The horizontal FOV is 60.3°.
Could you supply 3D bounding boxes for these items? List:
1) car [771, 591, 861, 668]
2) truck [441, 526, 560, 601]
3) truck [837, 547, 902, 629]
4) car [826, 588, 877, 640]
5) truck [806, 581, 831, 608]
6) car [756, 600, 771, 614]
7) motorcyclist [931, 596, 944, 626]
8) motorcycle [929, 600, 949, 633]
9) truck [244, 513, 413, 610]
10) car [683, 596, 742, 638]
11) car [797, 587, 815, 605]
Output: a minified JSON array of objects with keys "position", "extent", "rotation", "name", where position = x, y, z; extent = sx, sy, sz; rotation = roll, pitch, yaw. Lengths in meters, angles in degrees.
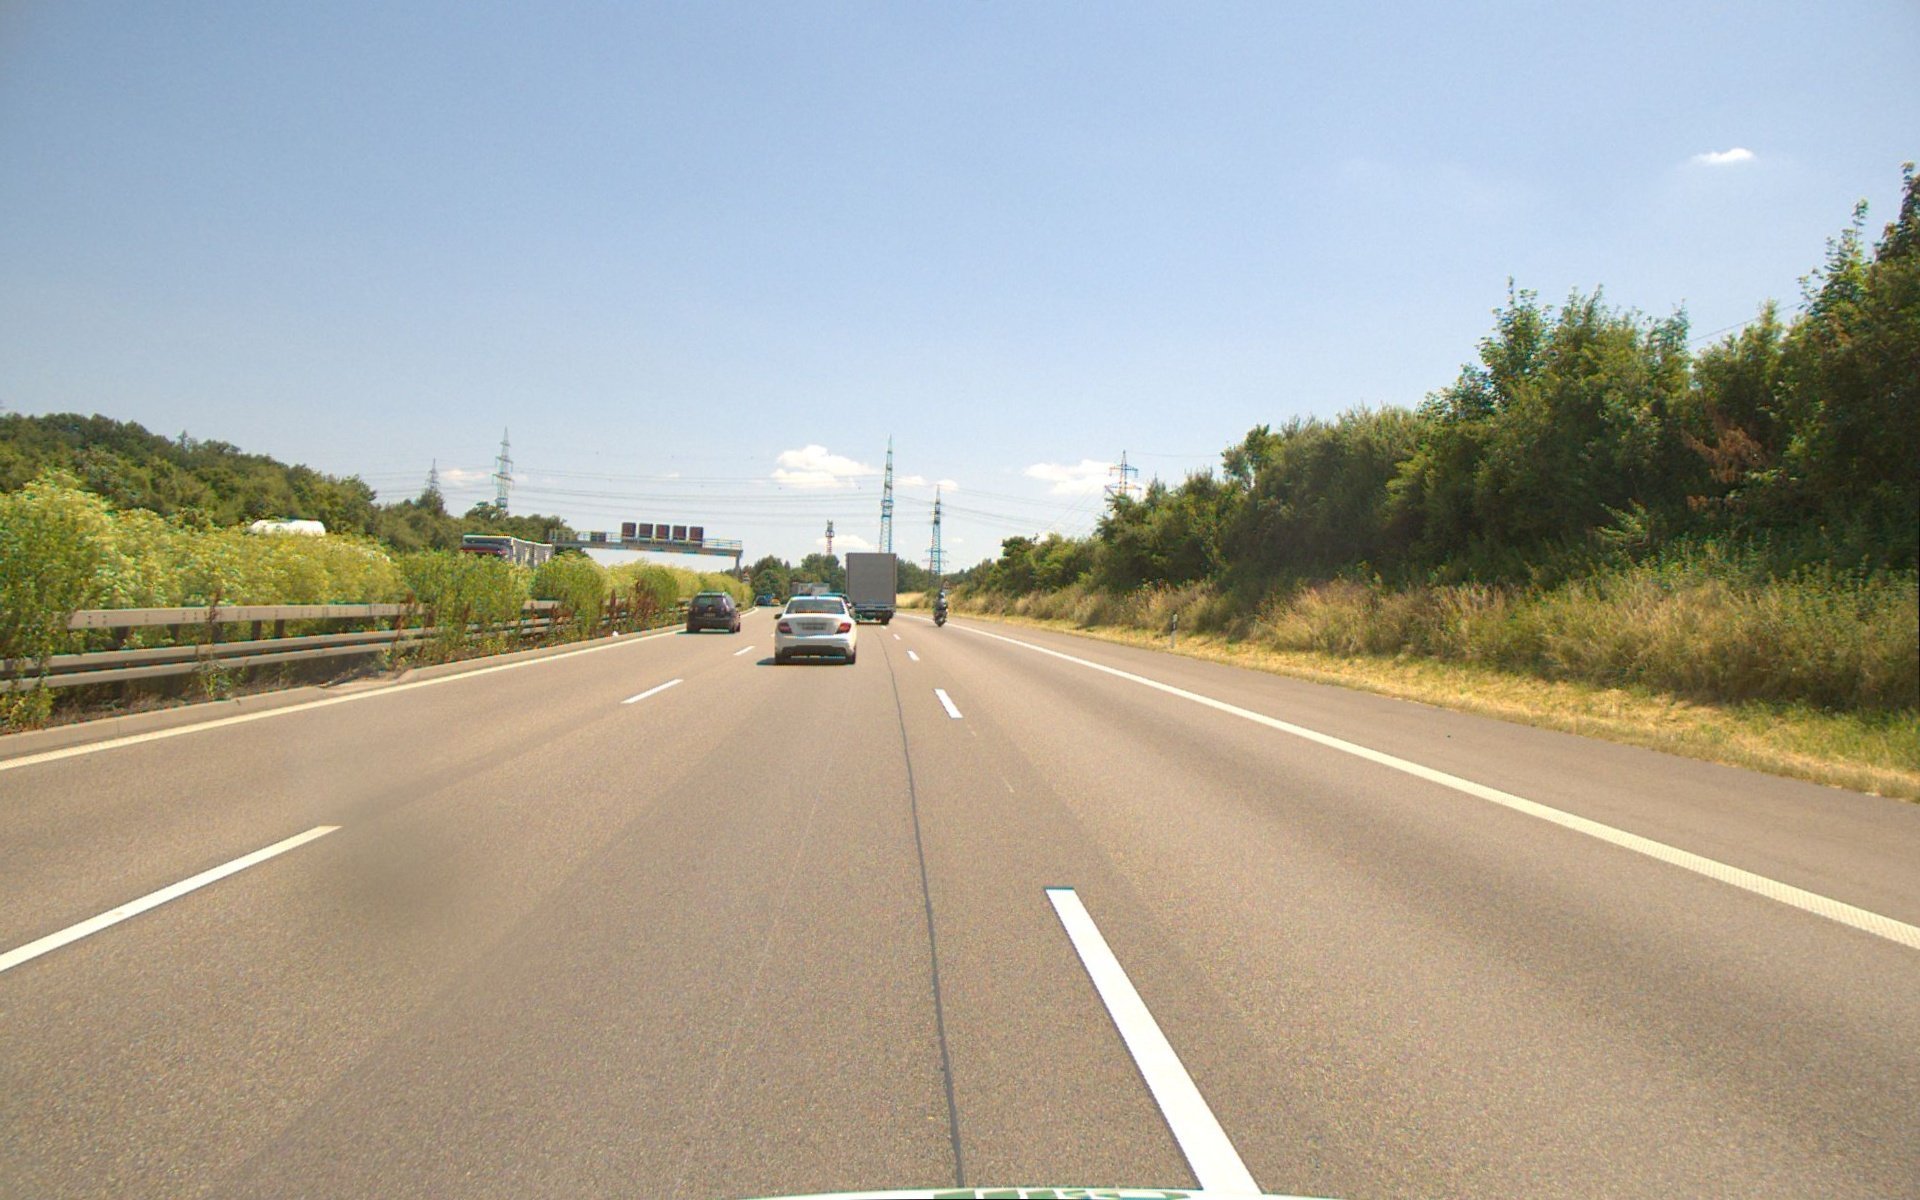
[{"position":[-3.099,0.608,36.278],"extent":[1.783,1.567,3.912],"rotation":[0,0,-3],"name":"car"},{"position":[-25.806,-1.952,94.092],"extent":[3.167,3.674,18.510],"rotation":[3,0,-6],"name":"truck"},{"position":[-4.765,-0.582,86.432],"extent":[3.157,3.993,9.053],"rotation":[1,0,-4],"name":"truck"},{"position":[-4.455,0.529,67.507],"extent":[1.955,2.049,3.995],"rotation":[0,0,-6],"name":"car"},{"position":[-21.076,-0.824,245.892],"extent":[3.417,3.981,7.280],"rotation":[1,0,-6],"name":"truck"},{"position":[-28.670,0.983,241.288],"extent":[1.955,1.892,3.996],"rotation":[1,0,-6],"name":"car"},{"position":[-1.090,0.538,81.634],"extent":[0.561,1.505,0.699],"rotation":[0,0,-7],"name":"motorcyclist"},{"position":[-1.033,0.804,81.690],"extent":[0.794,1.635,1.779],"rotation":[1,0,-7],"name":"motorcycle"},{"position":[-25.520,-1.482,67.849],"extent":[2.410,3.516,14.674],"rotation":[0,0,-4],"name":"truck"},{"position":[-9.134,0.609,61.318],"extent":[1.721,1.454,3.998],"rotation":[0,0,-2],"name":"car"},{"position":[-17.019,-0.484,182.943],"extent":[1.864,1.959,3.997],"rotation":[0,0,-4],"name":"car"}]
